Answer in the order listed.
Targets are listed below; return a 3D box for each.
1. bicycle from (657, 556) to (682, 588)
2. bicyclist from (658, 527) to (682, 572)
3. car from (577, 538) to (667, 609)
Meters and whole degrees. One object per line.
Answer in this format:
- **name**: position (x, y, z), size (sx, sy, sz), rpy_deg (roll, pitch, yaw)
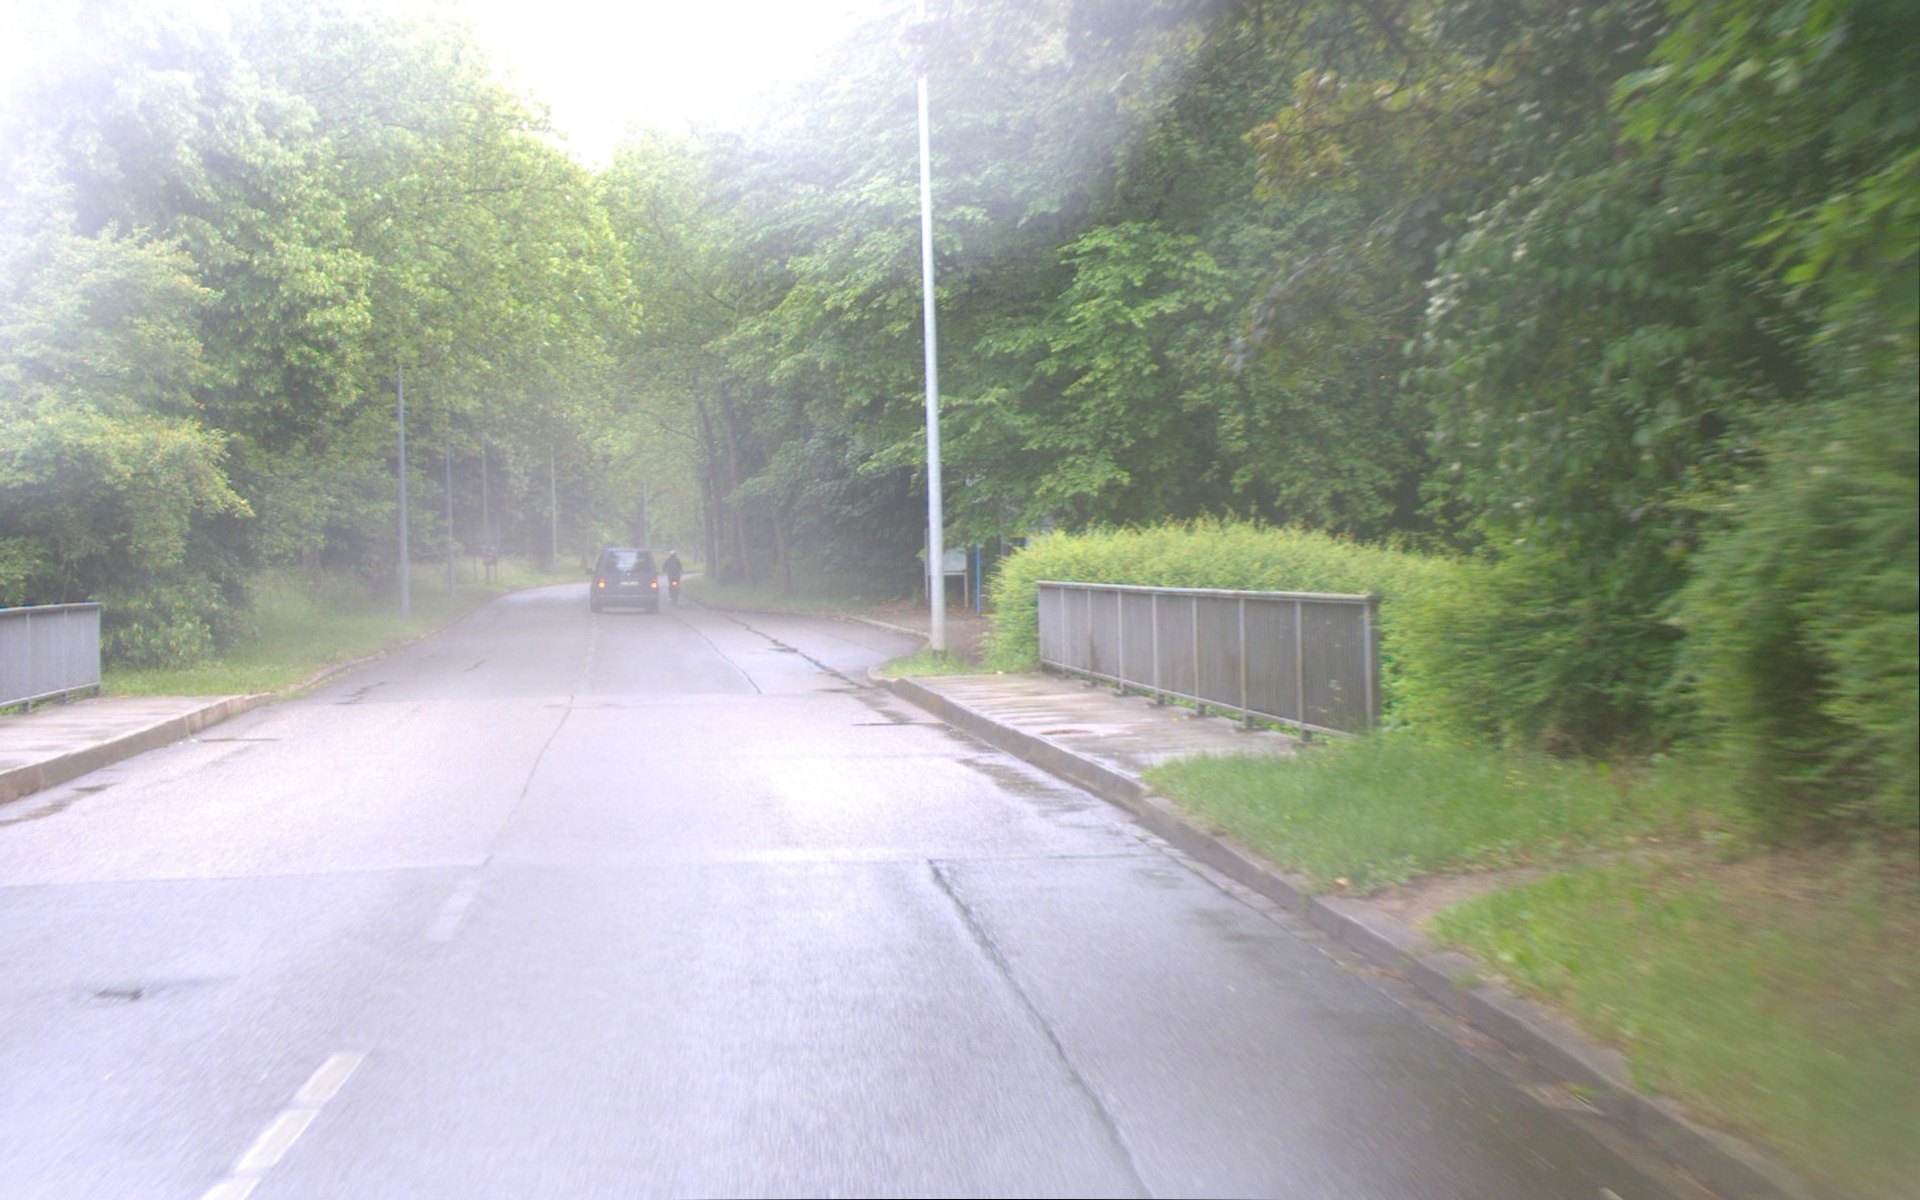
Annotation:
- **bicycle**: position (-9.231, -0.895, 109.354), size (0.729, 0.970, 2.173), rpy_deg (0, 1, -3)
- **bicyclist**: position (-9.222, -1.606, 109.298), size (0.729, 1.406, 0.973), rpy_deg (0, 1, -3)
- **car**: position (-9.493, -0.764, 96.250), size (1.985, 1.919, 4.001), rpy_deg (-1, 1, -13)
